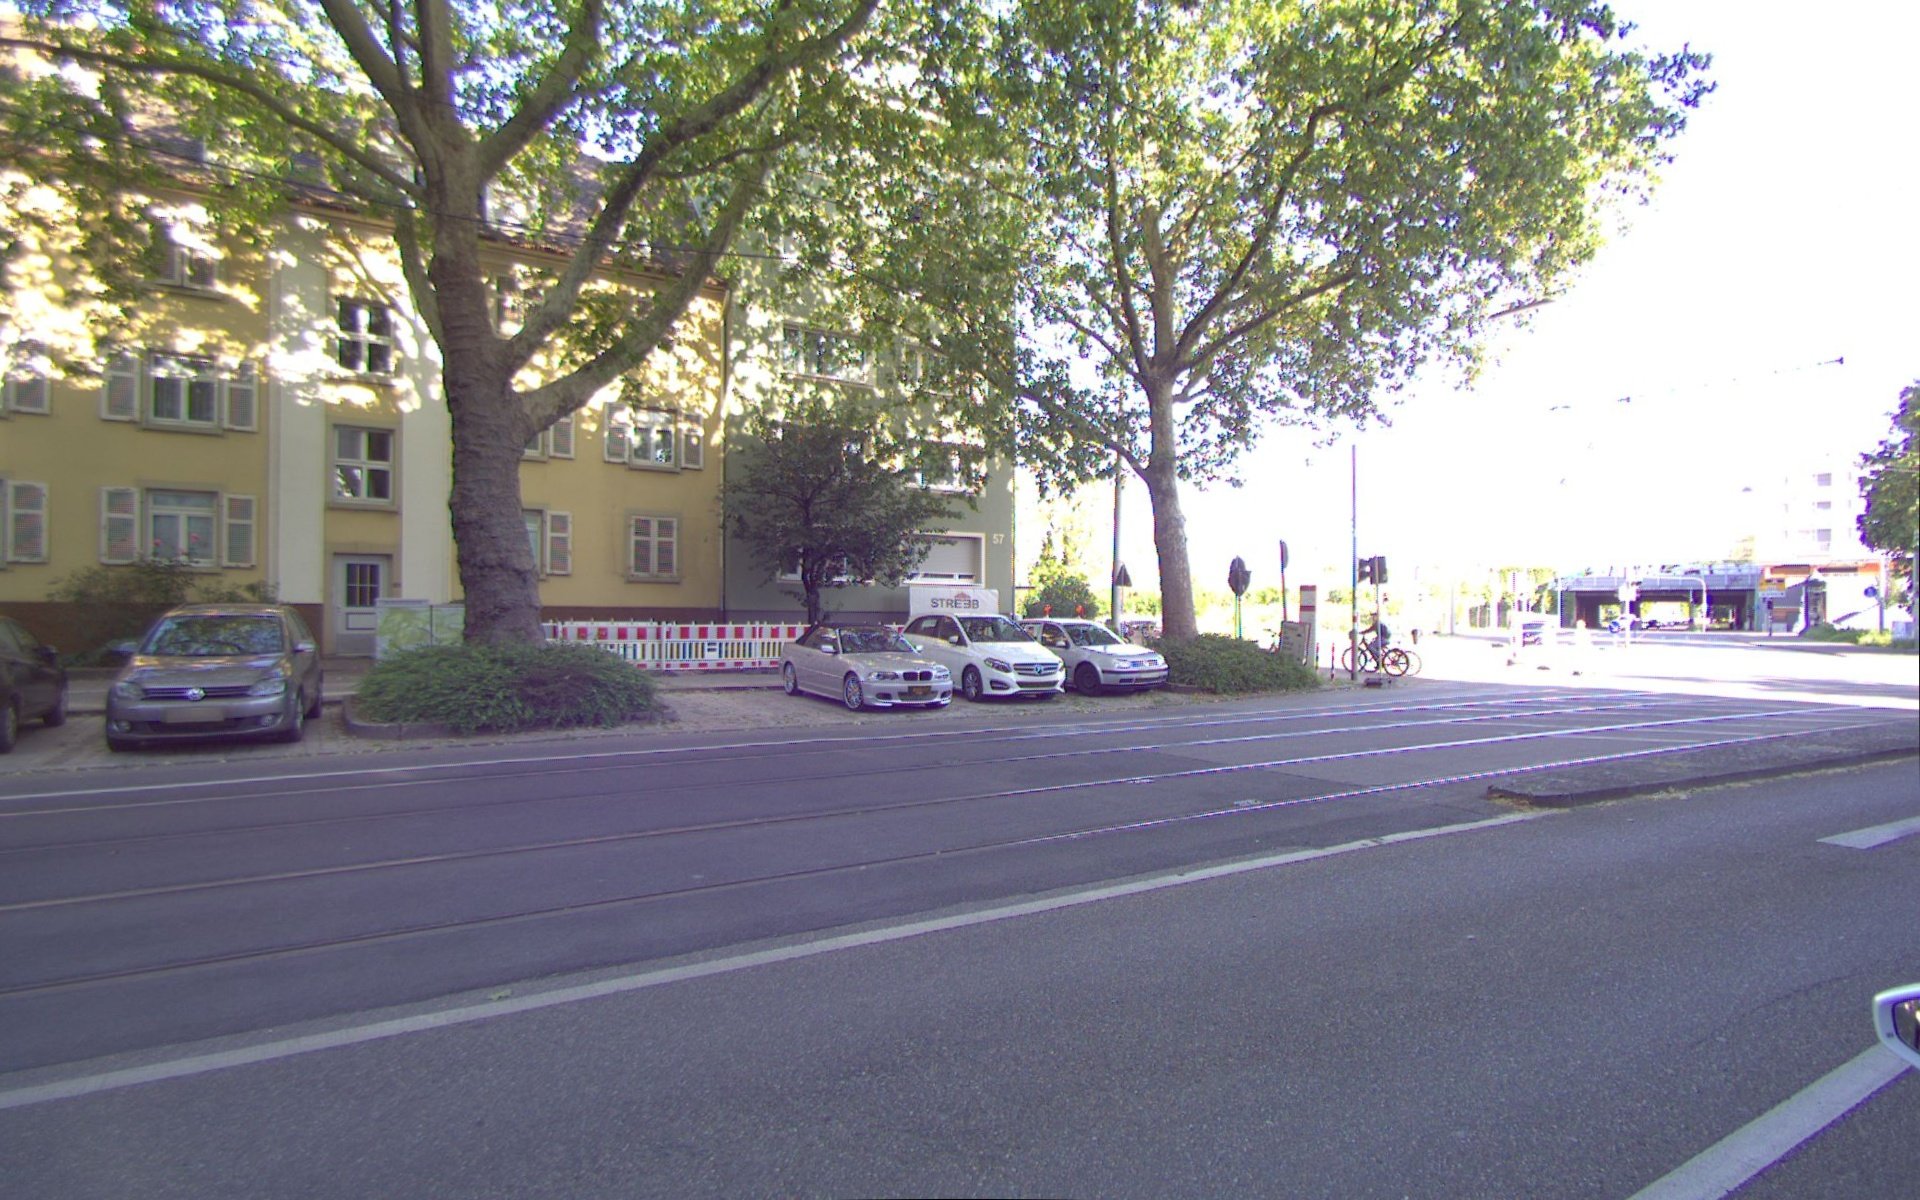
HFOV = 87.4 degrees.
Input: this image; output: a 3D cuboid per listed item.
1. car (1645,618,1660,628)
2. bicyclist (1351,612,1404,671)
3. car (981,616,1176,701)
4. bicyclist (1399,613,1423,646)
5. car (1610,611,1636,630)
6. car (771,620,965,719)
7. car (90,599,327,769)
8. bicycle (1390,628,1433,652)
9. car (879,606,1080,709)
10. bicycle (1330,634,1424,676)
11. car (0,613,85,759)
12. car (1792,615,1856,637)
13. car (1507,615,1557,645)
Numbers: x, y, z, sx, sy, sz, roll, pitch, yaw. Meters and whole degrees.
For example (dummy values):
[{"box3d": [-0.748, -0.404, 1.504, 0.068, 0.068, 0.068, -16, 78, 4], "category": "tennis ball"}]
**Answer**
[{"box3d": [111.823, 3.730, 162.285, 1.967, 1.623, 4.234, 0, -1, 34], "category": "car"}, {"box3d": [11.033, 1.081, 26.543, 1.099, 1.540, 0.918, 0, -1, 38], "category": "bicyclist"}, {"box3d": [2.302, 1.112, 20.828, 1.656, 1.448, 4.490, 1, 0, -30], "category": "car"}, {"box3d": [22.258, 1.466, 49.584, 0.640, 1.616, 0.858, 1, -1, -25], "category": "bicyclist"}, {"box3d": [68.470, 2.112, 103.657, 2.183, 1.847, 4.134, 0, -1, 34], "category": "car"}, {"box3d": [-1.727, 1.098, 17.439, 1.708, 1.386, 4.219, 1, 0, -31], "category": "car"}, {"box3d": [-9.035, 0.864, 12.429, 1.793, 1.627, 4.169, 1, 1, -29], "category": "car"}, {"box3d": [22.263, 1.968, 49.554, 0.584, 1.108, 2.049, 1, -1, -25], "category": "bicycle"}, {"box3d": [0.223, 0.997, 19.483, 1.777, 1.640, 4.587, 1, 1, -30], "category": "car"}, {"box3d": [11.014, 1.432, 26.578, 2.163, 1.047, 0.831, 0, -1, 38], "category": "bicycle"}, {"box3d": [-11.392, 0.885, 11.301, 1.723, 1.448, 3.545, 1, 0, -31], "category": "car"}, {"box3d": [75.866, 2.271, 88.272, 4.120, 1.829, 1.731, 0, -1, 36], "category": "car"}, {"box3d": [32.432, 1.680, 56.945, 1.803, 1.539, 3.876, 2, 1, 40], "category": "car"}]
